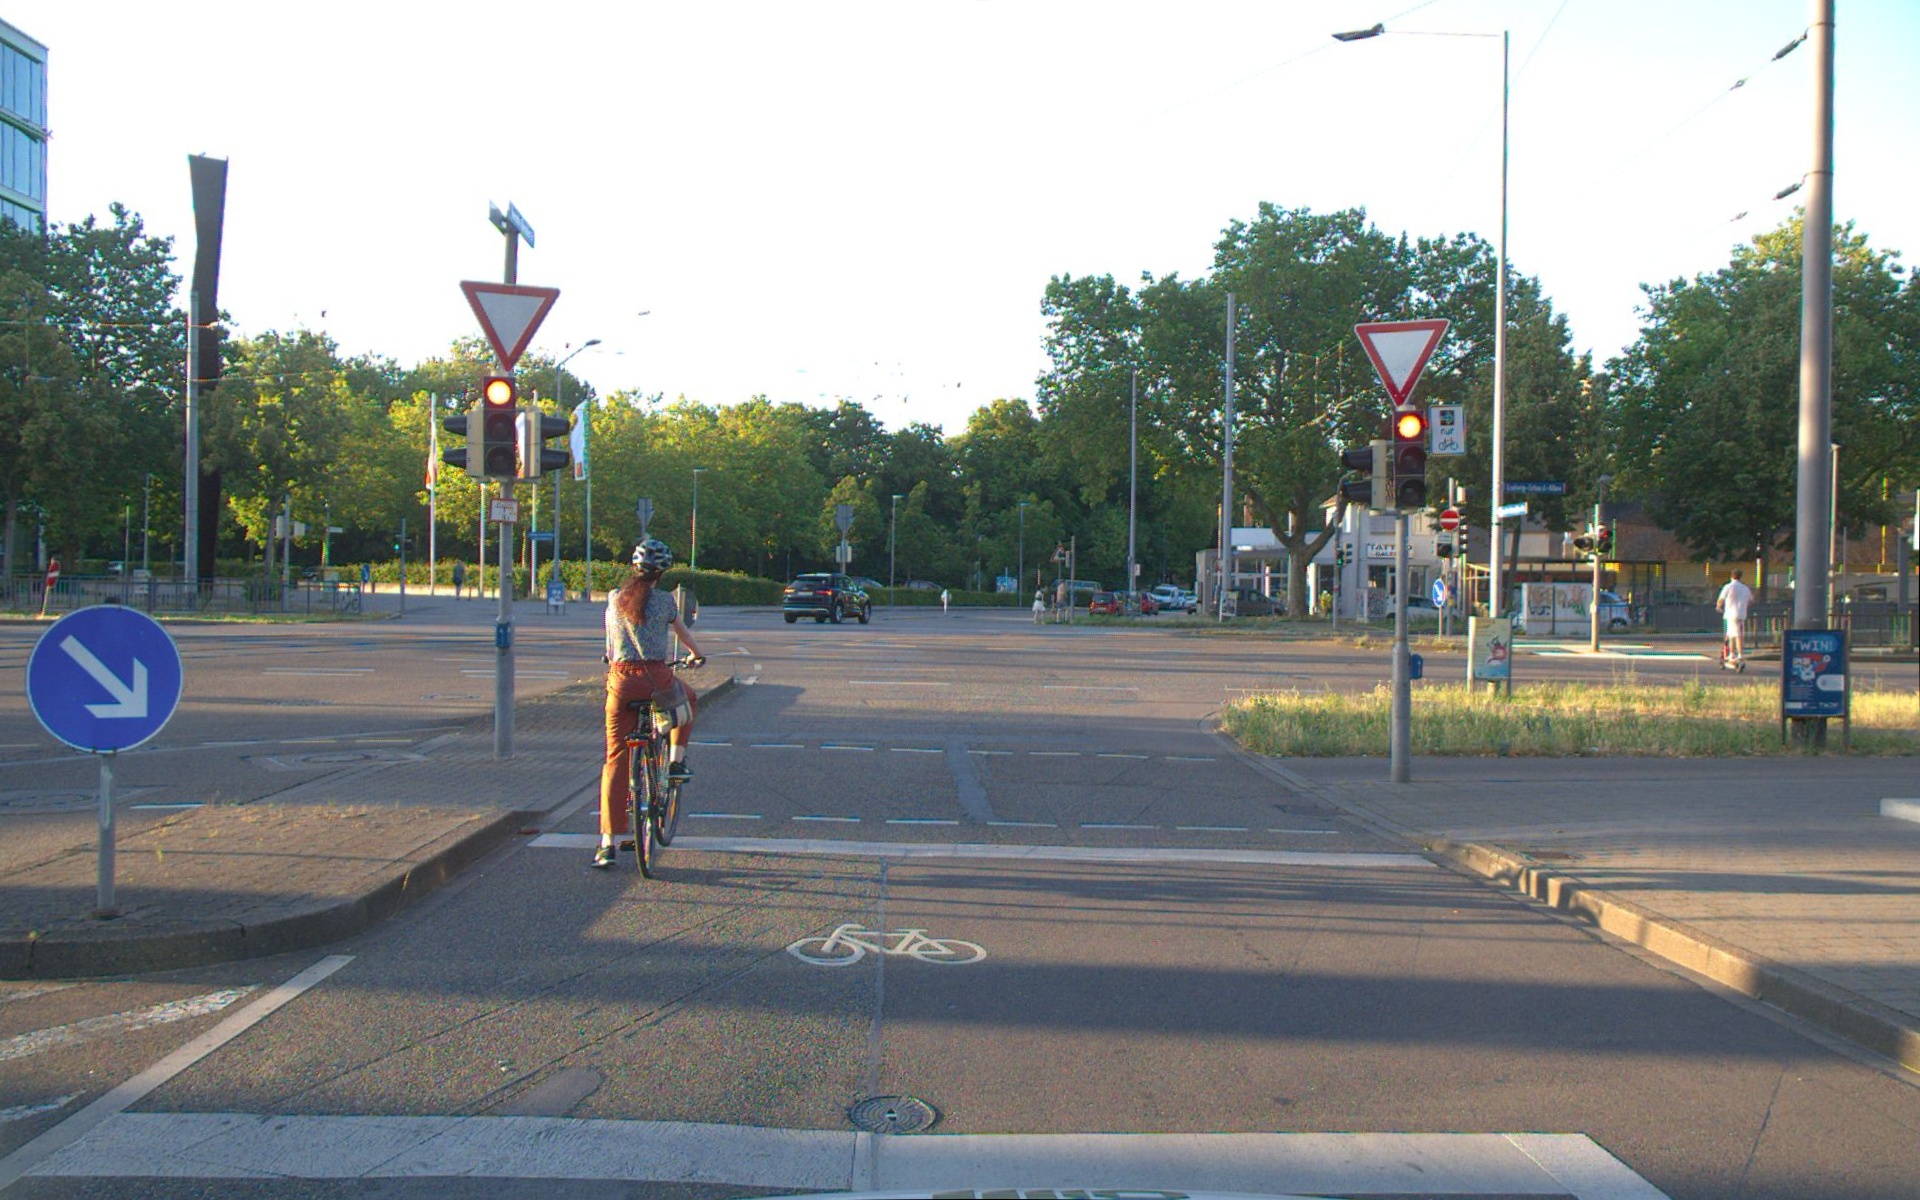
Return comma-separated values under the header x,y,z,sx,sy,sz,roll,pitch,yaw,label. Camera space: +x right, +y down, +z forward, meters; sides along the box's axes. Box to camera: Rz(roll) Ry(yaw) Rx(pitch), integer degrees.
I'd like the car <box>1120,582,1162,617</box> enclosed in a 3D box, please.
x,y,z,sx,sy,sz,roll,pitch,yaw,label
11.370,-0.055,103.483,1.875,2.083,4.002,1,1,17,car

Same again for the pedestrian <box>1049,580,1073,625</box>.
x,y,z,sx,sy,sz,roll,pitch,yaw,label
4.102,0.101,67.075,0.704,1.785,0.897,1,0,23,pedestrian

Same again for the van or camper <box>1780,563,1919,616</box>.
x,y,z,sx,sy,sz,roll,pitch,yaw,label
43.645,-0.522,80.340,6.426,2.452,2.265,1,0,3,van or camper

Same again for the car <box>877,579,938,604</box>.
x,y,z,sx,sy,sz,roll,pitch,yaw,label
-3.436,-0.550,109.461,3.905,1.588,2.000,1,0,1,car

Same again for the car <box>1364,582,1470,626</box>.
x,y,z,sx,sy,sz,roll,pitch,yaw,label
20.085,0.163,72.775,4.142,1.878,2.001,1,0,2,car

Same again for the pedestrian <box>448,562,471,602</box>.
x,y,z,sx,sy,sz,roll,pitch,yaw,label
-22.925,-0.818,75.791,0.884,1.785,0.715,1,0,-26,pedestrian

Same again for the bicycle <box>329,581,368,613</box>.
x,y,z,sx,sy,sz,roll,pitch,yaw,label
-23.093,-0.119,62.515,0.685,1.156,2.391,1,1,-3,bicycle

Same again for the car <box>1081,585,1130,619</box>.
x,y,z,sx,sy,sz,roll,pitch,yaw,label
8.443,0.079,95.824,1.829,1.907,3.875,1,1,20,car

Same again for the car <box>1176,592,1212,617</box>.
x,y,z,sx,sy,sz,roll,pitch,yaw,label
16.358,0.310,115.645,1.875,1.630,4.002,1,1,17,car

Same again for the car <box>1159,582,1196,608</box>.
x,y,z,sx,sy,sz,roll,pitch,yaw,label
17.902,-0.417,136.084,1.953,2.049,3.998,1,1,24,car

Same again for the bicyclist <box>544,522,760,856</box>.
x,y,z,sx,sy,sz,roll,pitch,yaw,label
-1.685,0.467,9.228,1.011,1.748,0.996,1,0,-1,bicyclist

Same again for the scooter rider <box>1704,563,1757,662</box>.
x,y,z,sx,sy,sz,roll,pitch,yaw,label
14.944,0.248,32.075,0.688,1.887,0.669,1,-1,-1,scooter rider

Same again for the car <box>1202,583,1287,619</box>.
x,y,z,sx,sy,sz,roll,pitch,yaw,label
15.313,0.019,89.193,4.285,1.867,1.950,1,1,4,car

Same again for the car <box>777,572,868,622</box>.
x,y,z,sx,sy,sz,roll,pitch,yaw,label
-4.434,-0.072,54.040,1.718,1.568,4.404,1,-1,12,car

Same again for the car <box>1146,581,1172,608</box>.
x,y,z,sx,sy,sz,roll,pitch,yaw,label
15.810,-0.472,131.417,1.951,2.049,4.003,1,1,6,car

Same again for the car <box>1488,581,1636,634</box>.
x,y,z,sx,sy,sz,roll,pitch,yaw,label
20.805,0.250,57.233,4.445,1.758,1.860,1,0,-5,car

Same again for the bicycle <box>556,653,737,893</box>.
x,y,z,sx,sy,sz,roll,pitch,yaw,label
-1.687,0.887,9.215,0.621,1.086,2.122,1,1,-1,bicycle

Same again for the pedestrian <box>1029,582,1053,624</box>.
x,y,z,sx,sy,sz,roll,pitch,yaw,label
3.322,0.118,67.972,0.704,1.667,0.897,1,0,23,pedestrian

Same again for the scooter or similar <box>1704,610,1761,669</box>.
x,y,z,sx,sy,sz,roll,pitch,yaw,label
14.928,0.752,31.975,0.499,1.109,1.243,1,0,-1,scooter or similar
